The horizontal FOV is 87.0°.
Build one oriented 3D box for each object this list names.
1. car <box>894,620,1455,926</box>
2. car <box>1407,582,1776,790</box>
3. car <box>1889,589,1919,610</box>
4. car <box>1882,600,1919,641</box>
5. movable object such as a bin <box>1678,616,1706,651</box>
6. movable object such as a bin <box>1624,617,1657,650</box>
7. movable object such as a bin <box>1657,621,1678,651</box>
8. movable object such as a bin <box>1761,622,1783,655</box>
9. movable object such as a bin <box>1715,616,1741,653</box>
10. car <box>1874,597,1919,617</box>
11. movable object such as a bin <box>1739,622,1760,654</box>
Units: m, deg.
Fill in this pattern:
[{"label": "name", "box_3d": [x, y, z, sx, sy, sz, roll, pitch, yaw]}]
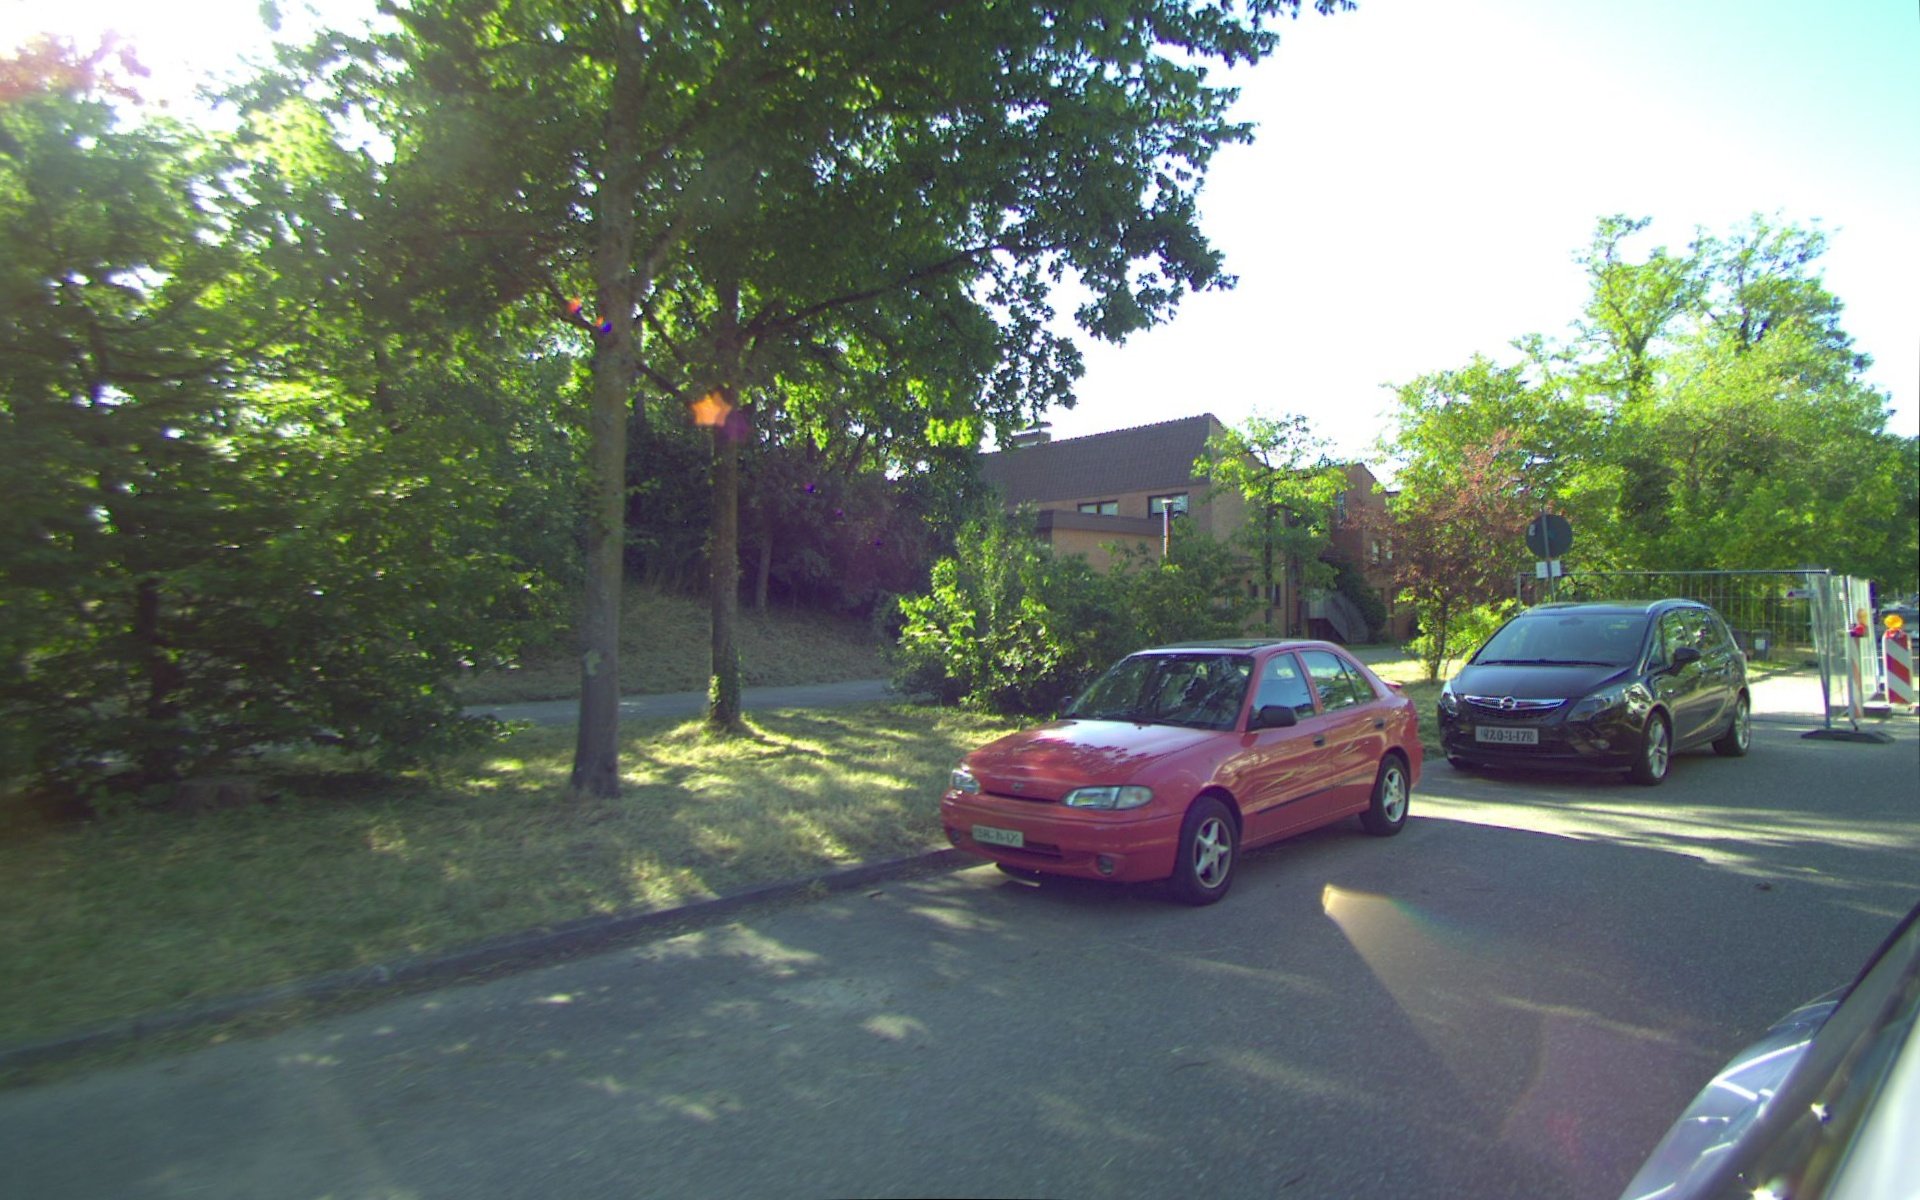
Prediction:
[{"label": "car", "box_3d": [1.664, 0.888, 6.832, 4.086, 1.393, 1.662, 0, -3, -44]}, {"label": "car", "box_3d": [6.506, 0.728, 10.235, 4.341, 1.672, 1.813, 0, -3, -39]}, {"label": "car", "box_3d": [118.862, -0.030, 126.206, 4.397, 2.578, 1.859, 0, -1, 43]}, {"label": "car", "box_3d": [40.736, 0.861, 43.270, 4.069, 1.643, 1.679, 0, -3, -44]}, {"label": "movable object such as a bin", "box_3d": [21.502, 0.980, 29.735, 0.598, 1.012, 0.563, 0, 0, -43]}, {"label": "movable object such as a bin", "box_3d": [20.599, 1.001, 30.614, 0.683, 0.940, 0.695, 0, 0, -43]}, {"label": "movable object such as a bin", "box_3d": [21.033, 1.064, 30.094, 0.516, 0.881, 0.419, 0, 0, -43]}, {"label": "movable object such as a bin", "box_3d": [22.724, 1.069, 28.328, 0.476, 0.881, 0.413, 0, 0, -43]}, {"label": "movable object such as a bin", "box_3d": [22.115, 0.990, 29.142, 0.598, 1.012, 0.519, 0, 0, -43]}, {"label": "car", "box_3d": [100.040, 0.739, 106.831, 1.967, 2.030, 5.258, 1, -1, -45]}, {"label": "movable object such as a bin", "box_3d": [22.342, 1.063, 28.643, 0.476, 0.881, 0.413, 0, 0, -43]}]
